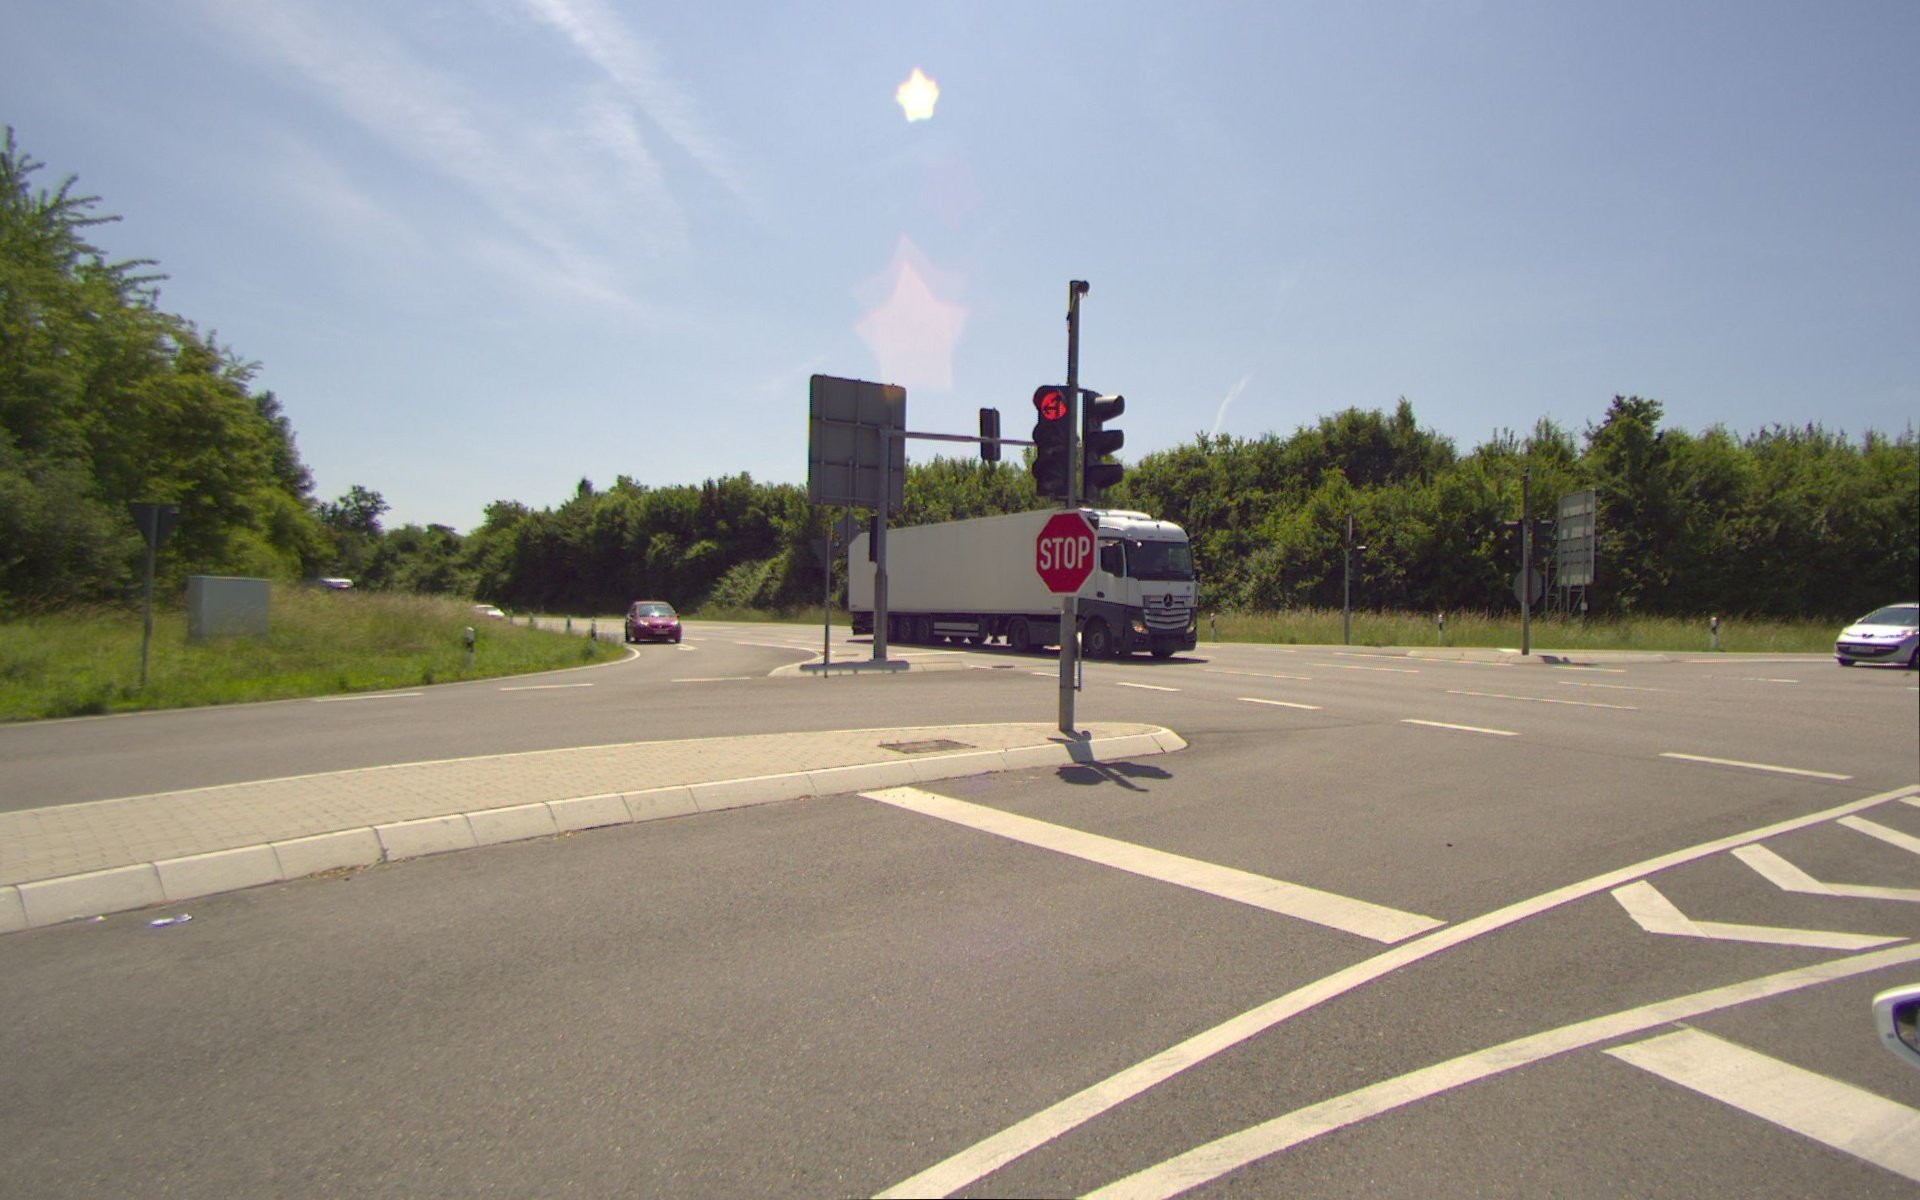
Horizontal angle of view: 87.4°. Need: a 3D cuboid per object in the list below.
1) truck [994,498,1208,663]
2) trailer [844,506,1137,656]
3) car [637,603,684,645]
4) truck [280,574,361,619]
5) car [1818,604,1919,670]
[{"bbox_3d":[3.768,-0.495,28.285,2.631,4.090,6.226,-1,0,-32],"label":"truck"},{"bbox_3d":[0.292,-0.522,33.825,2.632,4.090,13.713,-1,0,-33],"label":"trailer"},{"bbox_3d":[-11.349,0.862,37.923,1.526,1.519,3.816,0,0,-19],"label":"car"},{"bbox_3d":[-68.136,-0.266,106.686,16.220,4.506,3.127,-1,0,43],"label":"truck"},{"bbox_3d":[21.749,0.797,22.932,3.471,1.389,1.566,-1,0,-14],"label":"car"}]
